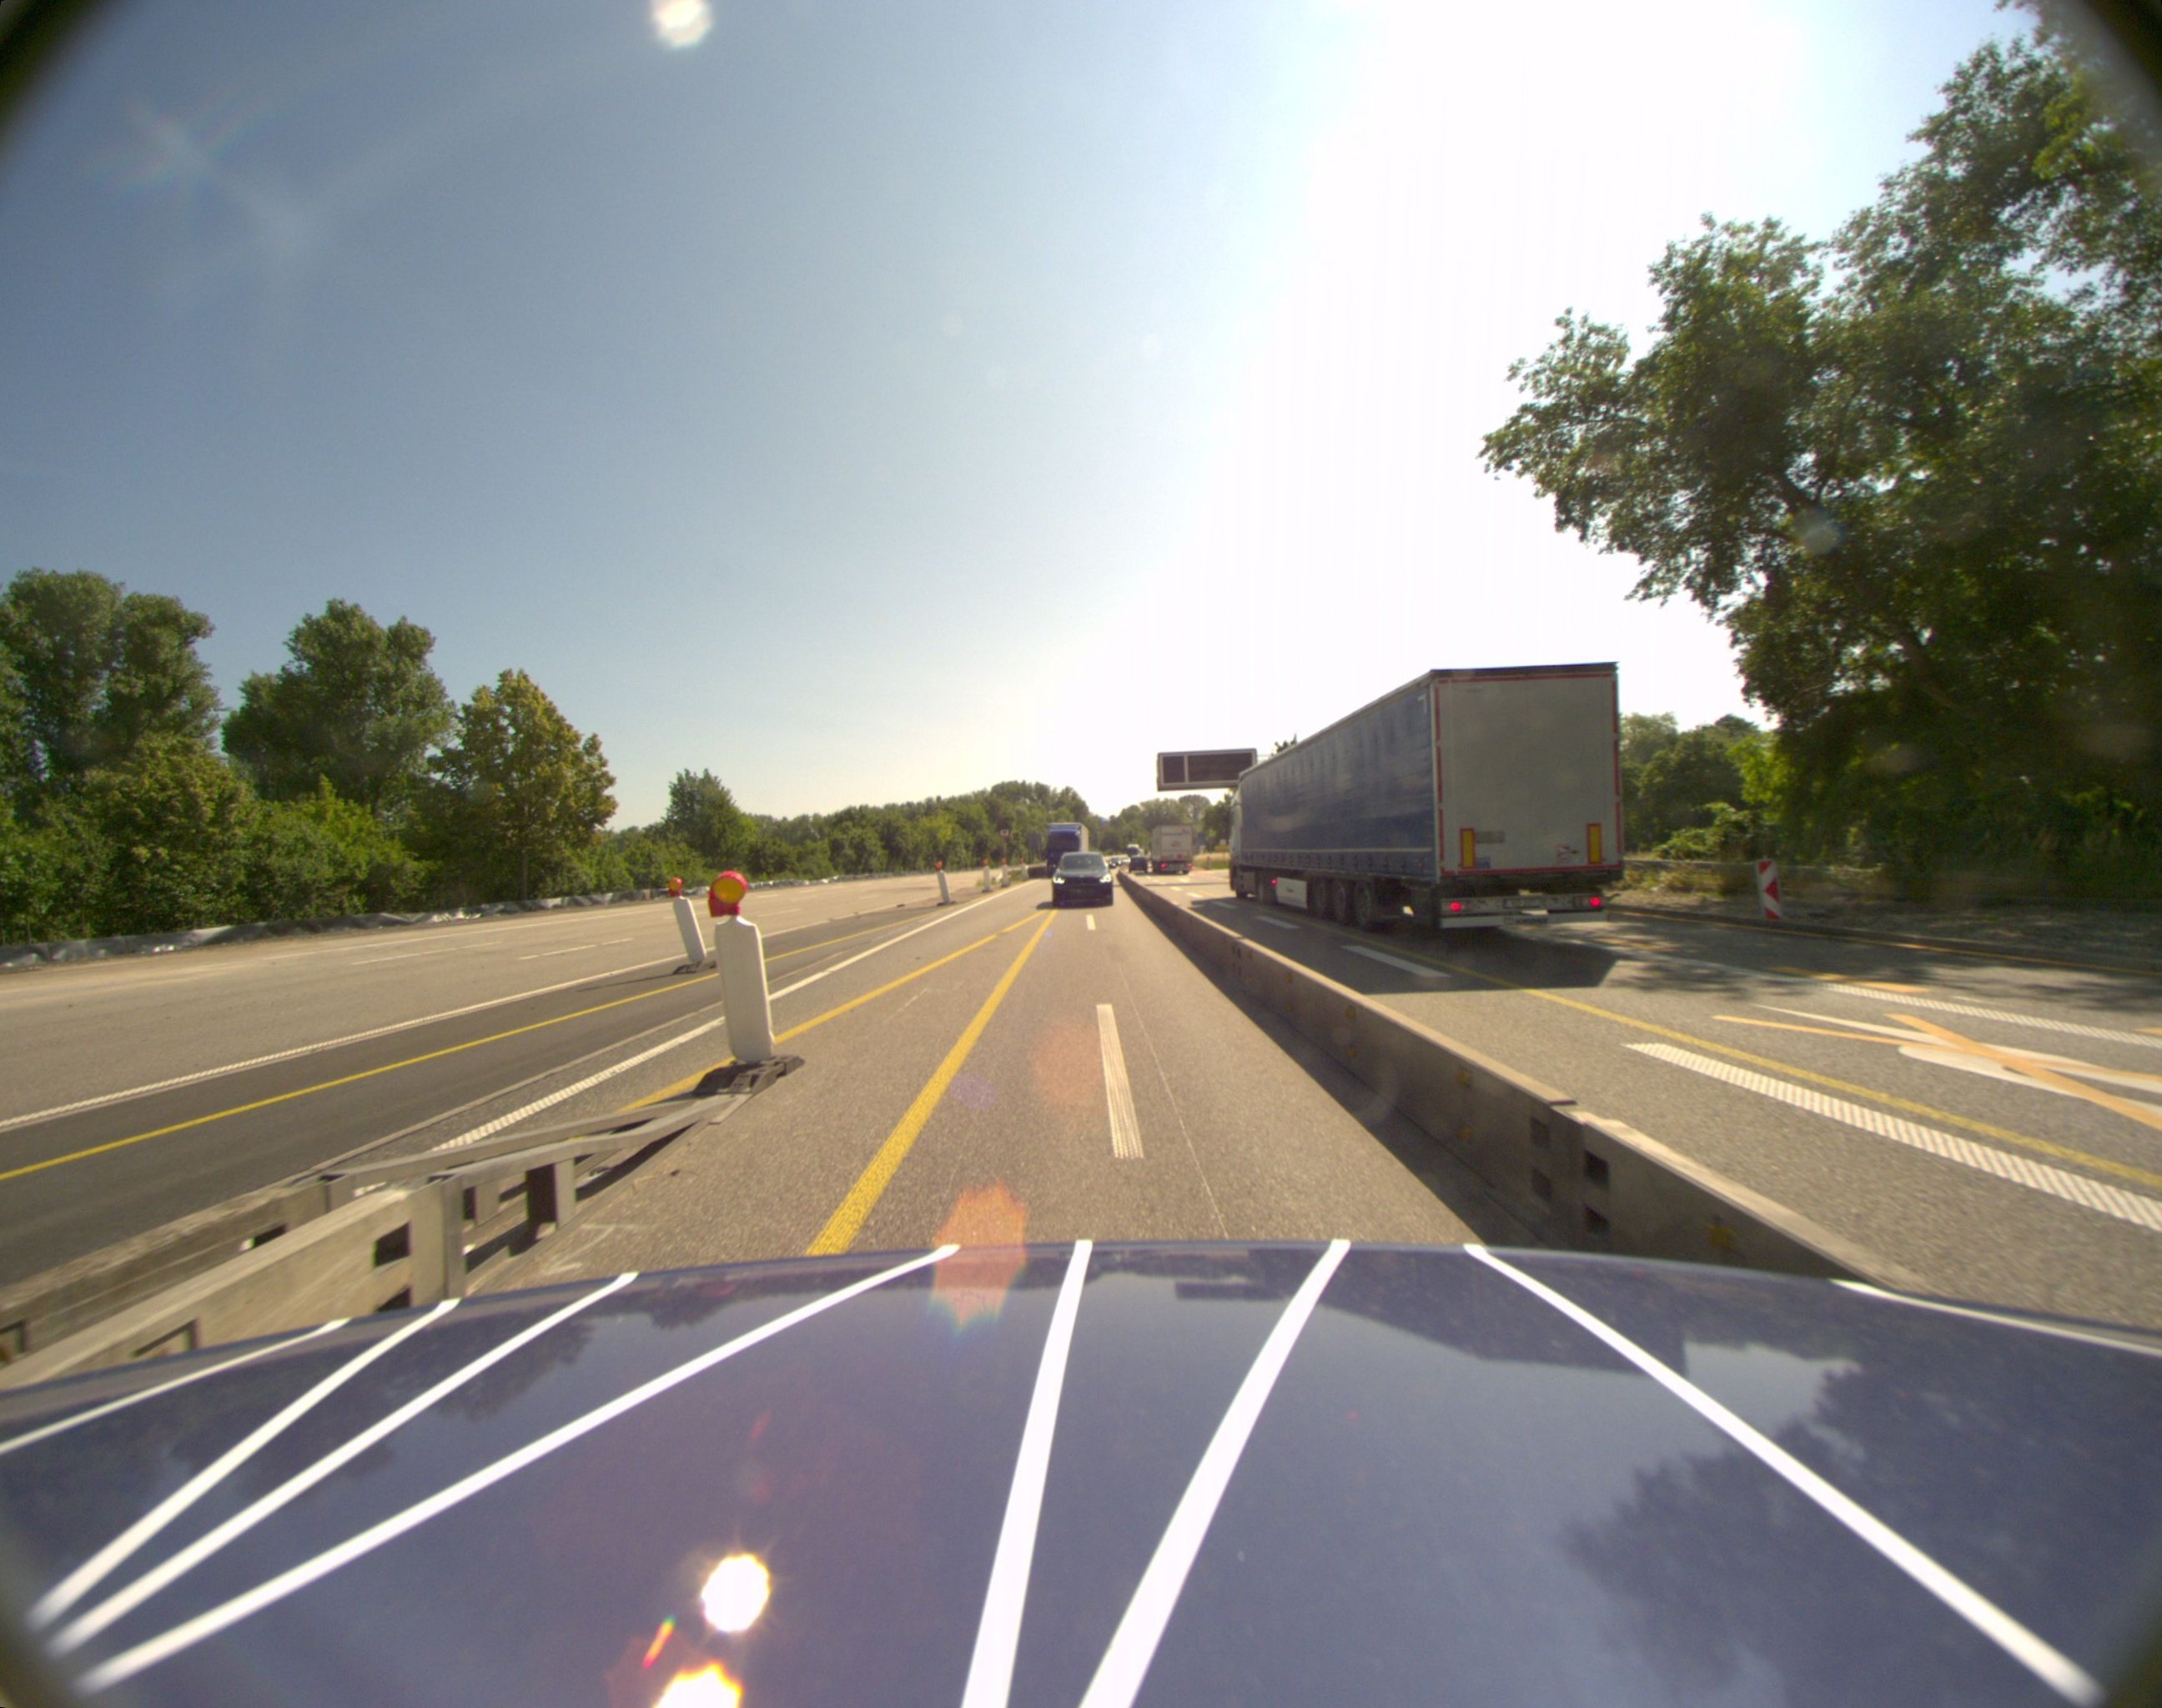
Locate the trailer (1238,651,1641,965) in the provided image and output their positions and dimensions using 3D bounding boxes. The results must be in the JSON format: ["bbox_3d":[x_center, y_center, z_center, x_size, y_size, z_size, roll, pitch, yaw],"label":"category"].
[{"bbox_3d":[6.250,-0.671,17.197,2.627,4.103,14.066,-2,1,1],"label":"trailer"}]

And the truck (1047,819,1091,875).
[{"bbox_3d":[-0.830,-0.526,59.300,2.860,3.962,8.665,-2,1,2],"label":"truck"}]

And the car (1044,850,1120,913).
[{"bbox_3d":[0.142,0.795,24.558,1.788,1.651,4.488,-5,1,7],"label":"car"}]

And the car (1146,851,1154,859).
[{"bbox_3d":[17.696,0.217,195.057,1.998,2.002,4.001,-2,1,5],"label":"car"}]

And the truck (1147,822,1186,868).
[{"bbox_3d":[8.091,-0.893,72.934,3.052,4.081,7.643,-2,1,2],"label":"truck"}]

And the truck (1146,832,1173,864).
[{"bbox_3d":[10.529,-0.836,102.485,3.052,4.081,8.711,-2,1,2],"label":"truck"}]

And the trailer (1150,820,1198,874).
[{"bbox_3d":[7.824,-0.629,65.378,3.052,4.081,12.341,-2,1,2],"label":"trailer"}]

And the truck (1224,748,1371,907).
[{"bbox_3d":[6.328,-0.728,23.278,2.627,4.104,6.506,-2,1,1],"label":"truck"}]

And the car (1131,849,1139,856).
[{"bbox_3d":[11.796,-0.329,166.354,1.747,1.621,4.093,-2,1,3],"label":"car"}]

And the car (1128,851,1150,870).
[{"bbox_3d":[5.287,0.564,69.895,1.747,1.621,4.372,-2,1,1],"label":"car"}]

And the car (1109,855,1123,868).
[{"bbox_3d":[4.830,1.036,105.439,1.747,1.621,4.092,-2,1,1],"label":"car"}]
